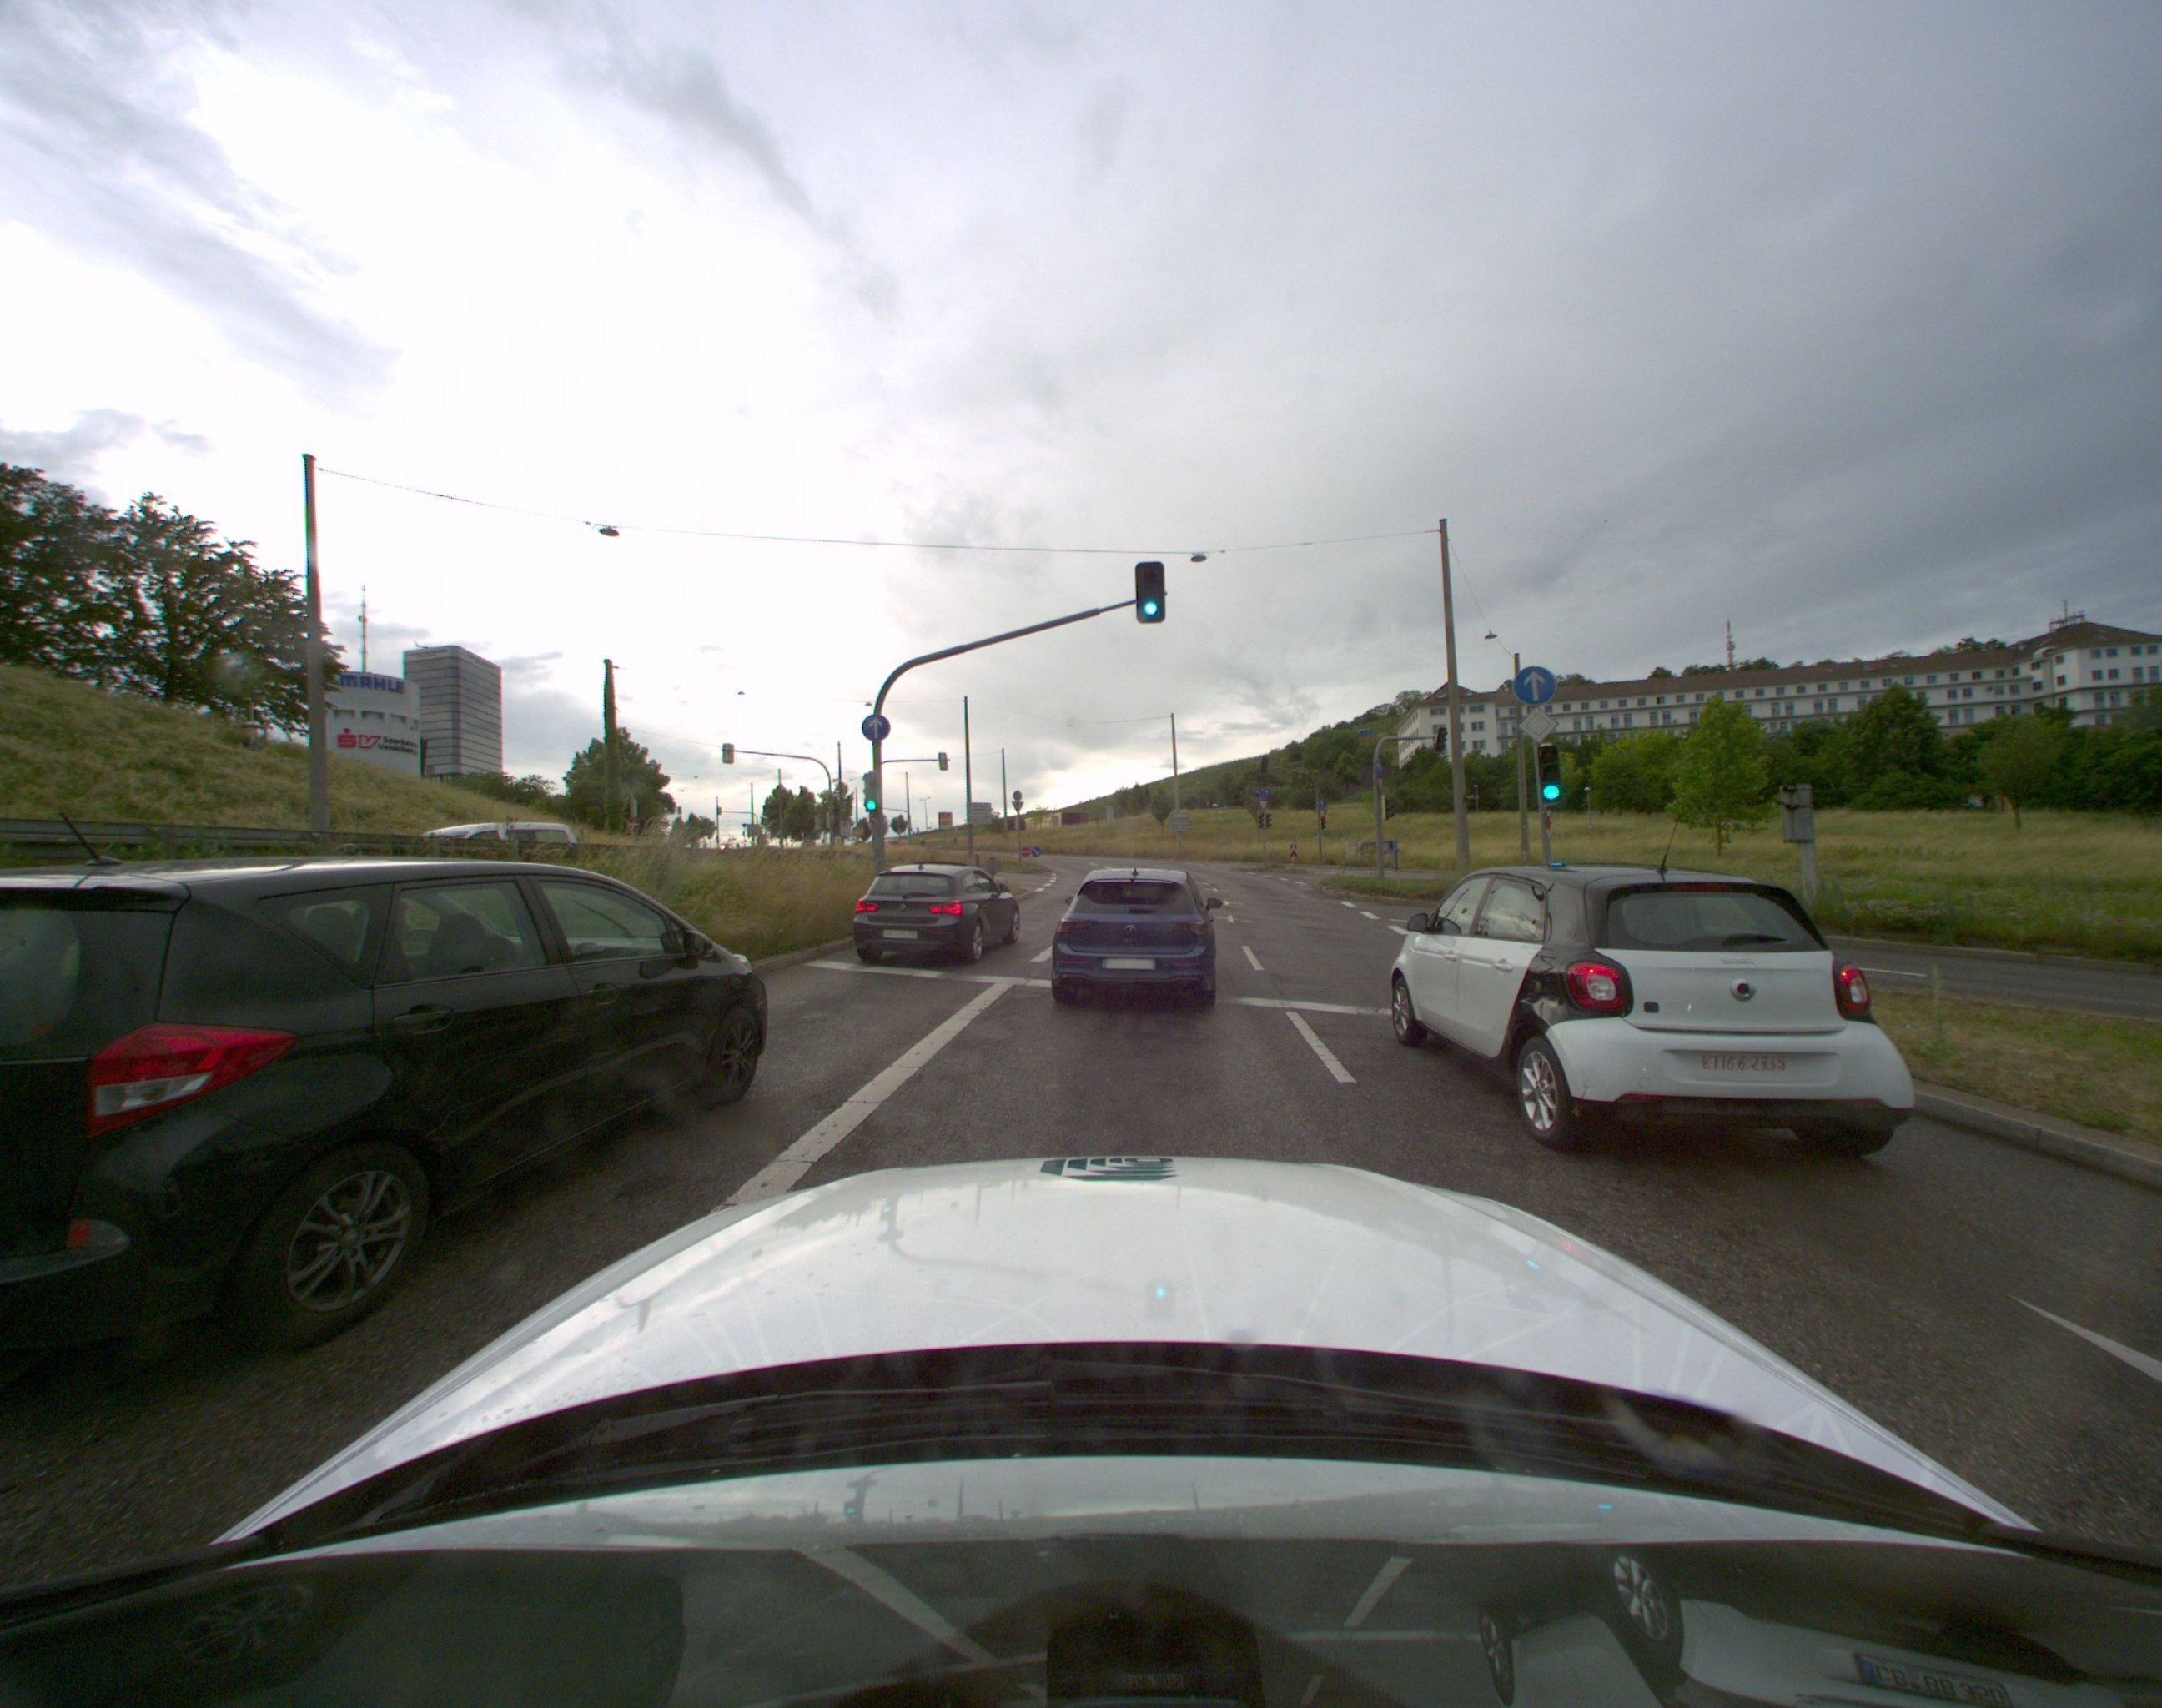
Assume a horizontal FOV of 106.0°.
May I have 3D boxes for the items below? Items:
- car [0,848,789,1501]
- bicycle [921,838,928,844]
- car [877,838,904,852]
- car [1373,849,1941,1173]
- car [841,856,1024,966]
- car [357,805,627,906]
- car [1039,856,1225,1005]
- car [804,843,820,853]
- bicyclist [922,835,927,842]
[{"bbox_3d":[-3.042,0.753,3.886,1.634,1.504,3.784,1,1,5],"label":"car"},{"bbox_3d":[-24.173,-1.999,125.726,0.521,0.775,1.605,1,0,-31],"label":"bicycle"},{"bbox_3d":[-23.807,-1.111,101.673,2.005,1.618,4.807,1,0,-29],"label":"car"},{"bbox_3d":[3.314,0.775,5.574,1.650,1.503,3.455,-1,-1,5],"label":"car"},{"bbox_3d":[-2.184,0.793,13.161,1.693,1.460,4.122,-1,0,7],"label":"car"},{"bbox_3d":[-12.269,0.087,17.460,1.804,1.850,4.711,-1,-1,10],"label":"car"},{"bbox_3d":[0.729,0.779,9.954,1.815,1.461,3.815,-1,-1,7],"label":"car"},{"bbox_3d":[-47.419,-1.037,143.559,2.004,1.637,4.382,2,0,-27],"label":"car"},{"bbox_3d":[-24.175,-2.387,125.764,0.526,1.046,0.575,3,-1,-32],"label":"bicyclist"}]
